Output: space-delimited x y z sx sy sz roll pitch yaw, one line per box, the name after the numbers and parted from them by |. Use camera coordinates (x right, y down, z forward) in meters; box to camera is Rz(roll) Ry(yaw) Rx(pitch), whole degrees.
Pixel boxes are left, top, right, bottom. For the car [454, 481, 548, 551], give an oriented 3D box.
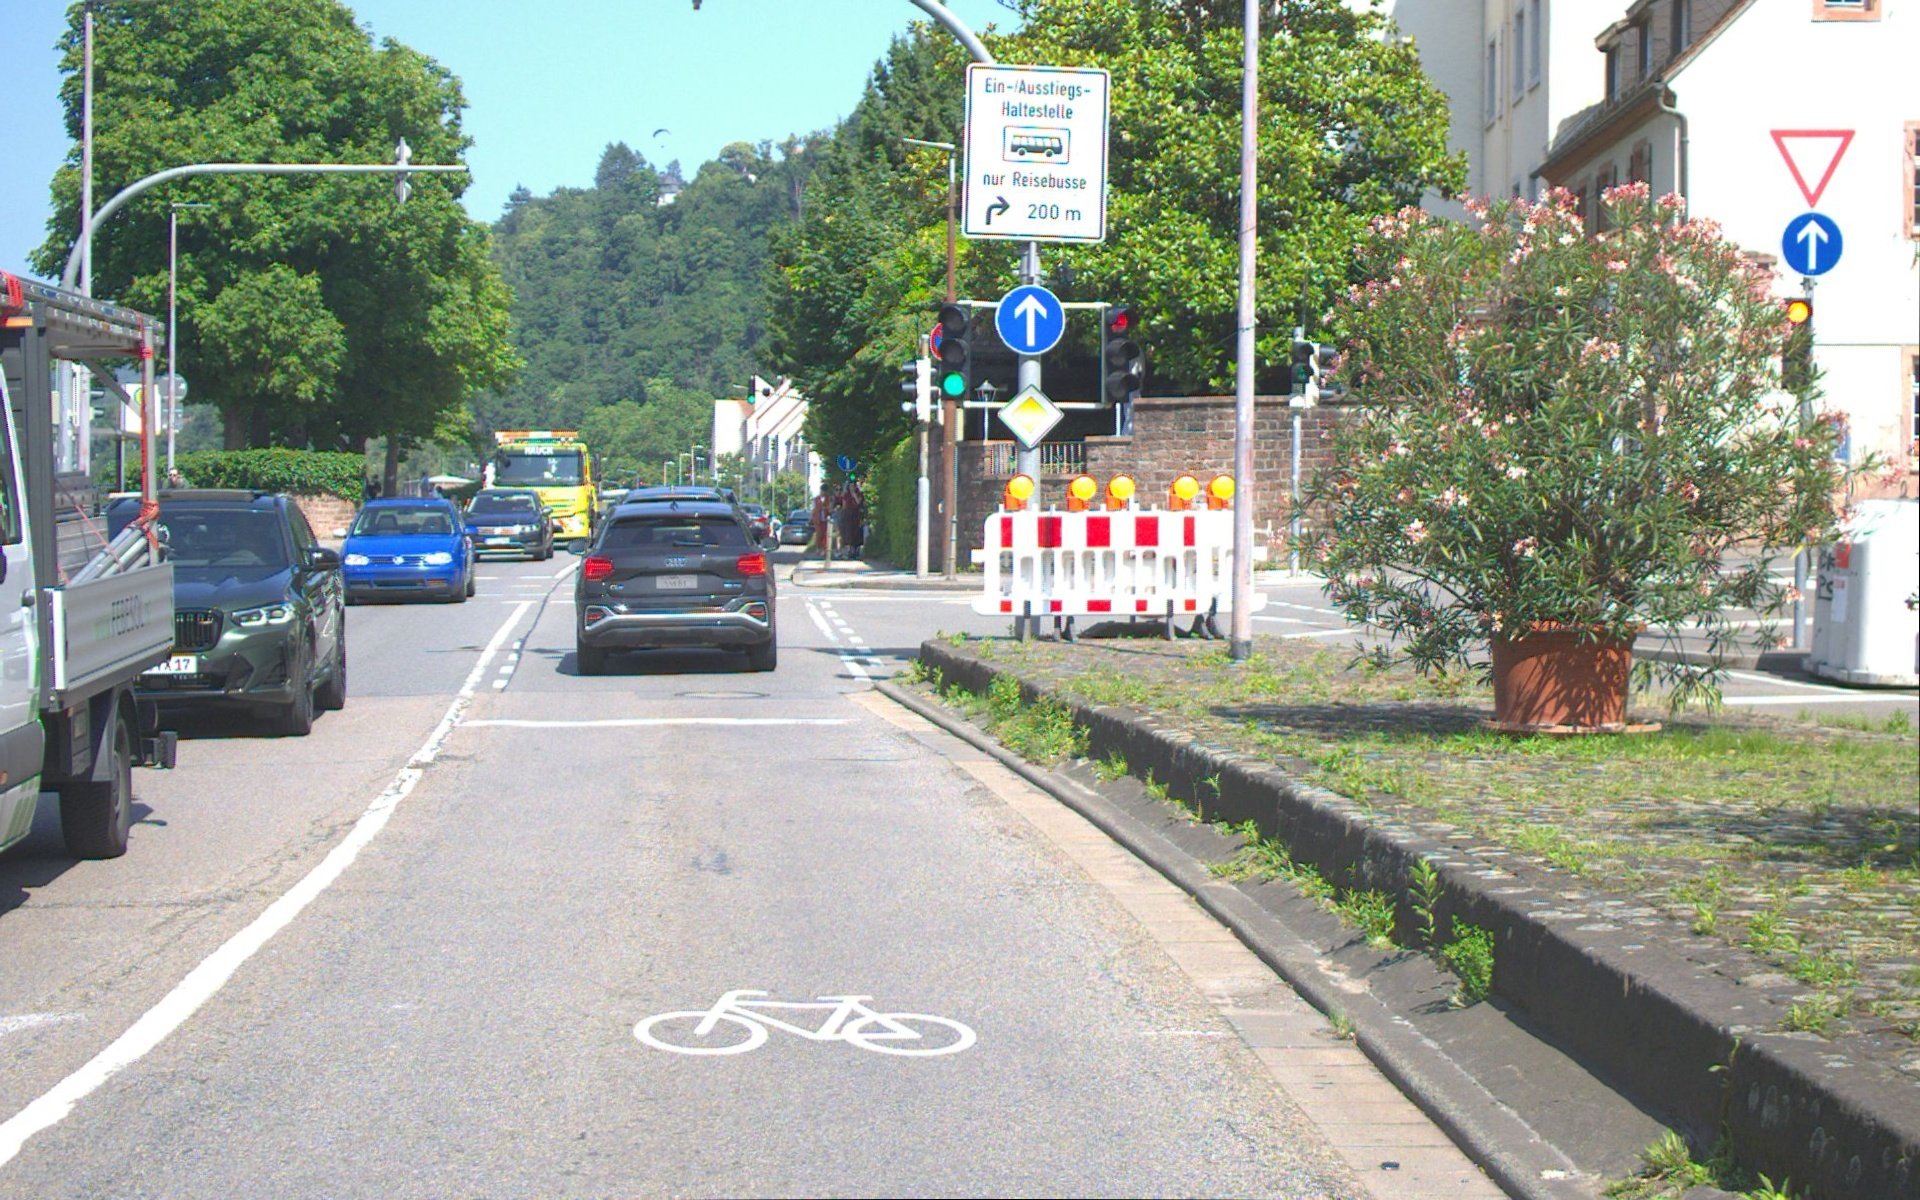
-9.533 -1.768 71.638 1.808 1.401 4.358 0 2 -6 | car

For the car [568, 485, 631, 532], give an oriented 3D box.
-11.524 -2.952 110.079 1.815 1.393 4.348 -1 3 -4 | car

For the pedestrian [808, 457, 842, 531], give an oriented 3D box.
-3.005 -2.349 76.360 0.735 1.628 0.921 0 2 -3 | pedestrian

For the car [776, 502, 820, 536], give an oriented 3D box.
-7.502 -3.727 158.714 1.993 1.448 4.009 0 0 -3 | car

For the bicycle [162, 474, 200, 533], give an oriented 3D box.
-14.923 -1.849 65.838 0.666 1.109 2.035 -1 2 -13 | bicycle

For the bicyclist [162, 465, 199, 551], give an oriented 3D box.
-14.928 -1.761 65.838 0.666 1.626 0.980 -1 2 -13 | bicyclist

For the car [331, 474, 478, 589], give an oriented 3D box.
-7.657 -0.978 47.647 1.808 1.503 4.001 0 2 -6 | car

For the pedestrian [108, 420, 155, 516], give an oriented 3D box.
-16.859 -2.687 69.974 0.753 1.911 1.009 0 0 -3 | pedestrian

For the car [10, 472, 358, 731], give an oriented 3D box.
-5.471 -0.056 24.755 1.862 1.675 4.455 -1 2 -5 | car

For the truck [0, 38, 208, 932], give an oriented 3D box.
-4.780 -0.452 13.687 2.376 3.250 7.613 -2 2 -5 | truck

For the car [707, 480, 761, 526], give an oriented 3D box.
-7.637 -3.281 116.335 1.795 1.477 4.001 1 1 -4 | car

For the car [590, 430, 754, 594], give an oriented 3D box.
-3.722 -1.081 44.145 1.993 2.007 4.001 0 0 -5 | car

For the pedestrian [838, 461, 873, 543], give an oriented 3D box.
-2.227 -2.082 73.017 0.680 1.736 0.913 1 1 -3 | pedestrian

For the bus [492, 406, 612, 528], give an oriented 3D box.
-10.090 -3.298 85.623 2.596 2.886 8.449 0 2 -4 | bus

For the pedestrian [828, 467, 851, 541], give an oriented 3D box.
-2.614 -2.078 74.341 0.455 1.600 0.579 1 1 -3 | pedestrian

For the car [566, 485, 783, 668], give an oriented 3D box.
-2.593 -0.268 31.611 1.856 1.518 4.001 0 3 -4 | car
